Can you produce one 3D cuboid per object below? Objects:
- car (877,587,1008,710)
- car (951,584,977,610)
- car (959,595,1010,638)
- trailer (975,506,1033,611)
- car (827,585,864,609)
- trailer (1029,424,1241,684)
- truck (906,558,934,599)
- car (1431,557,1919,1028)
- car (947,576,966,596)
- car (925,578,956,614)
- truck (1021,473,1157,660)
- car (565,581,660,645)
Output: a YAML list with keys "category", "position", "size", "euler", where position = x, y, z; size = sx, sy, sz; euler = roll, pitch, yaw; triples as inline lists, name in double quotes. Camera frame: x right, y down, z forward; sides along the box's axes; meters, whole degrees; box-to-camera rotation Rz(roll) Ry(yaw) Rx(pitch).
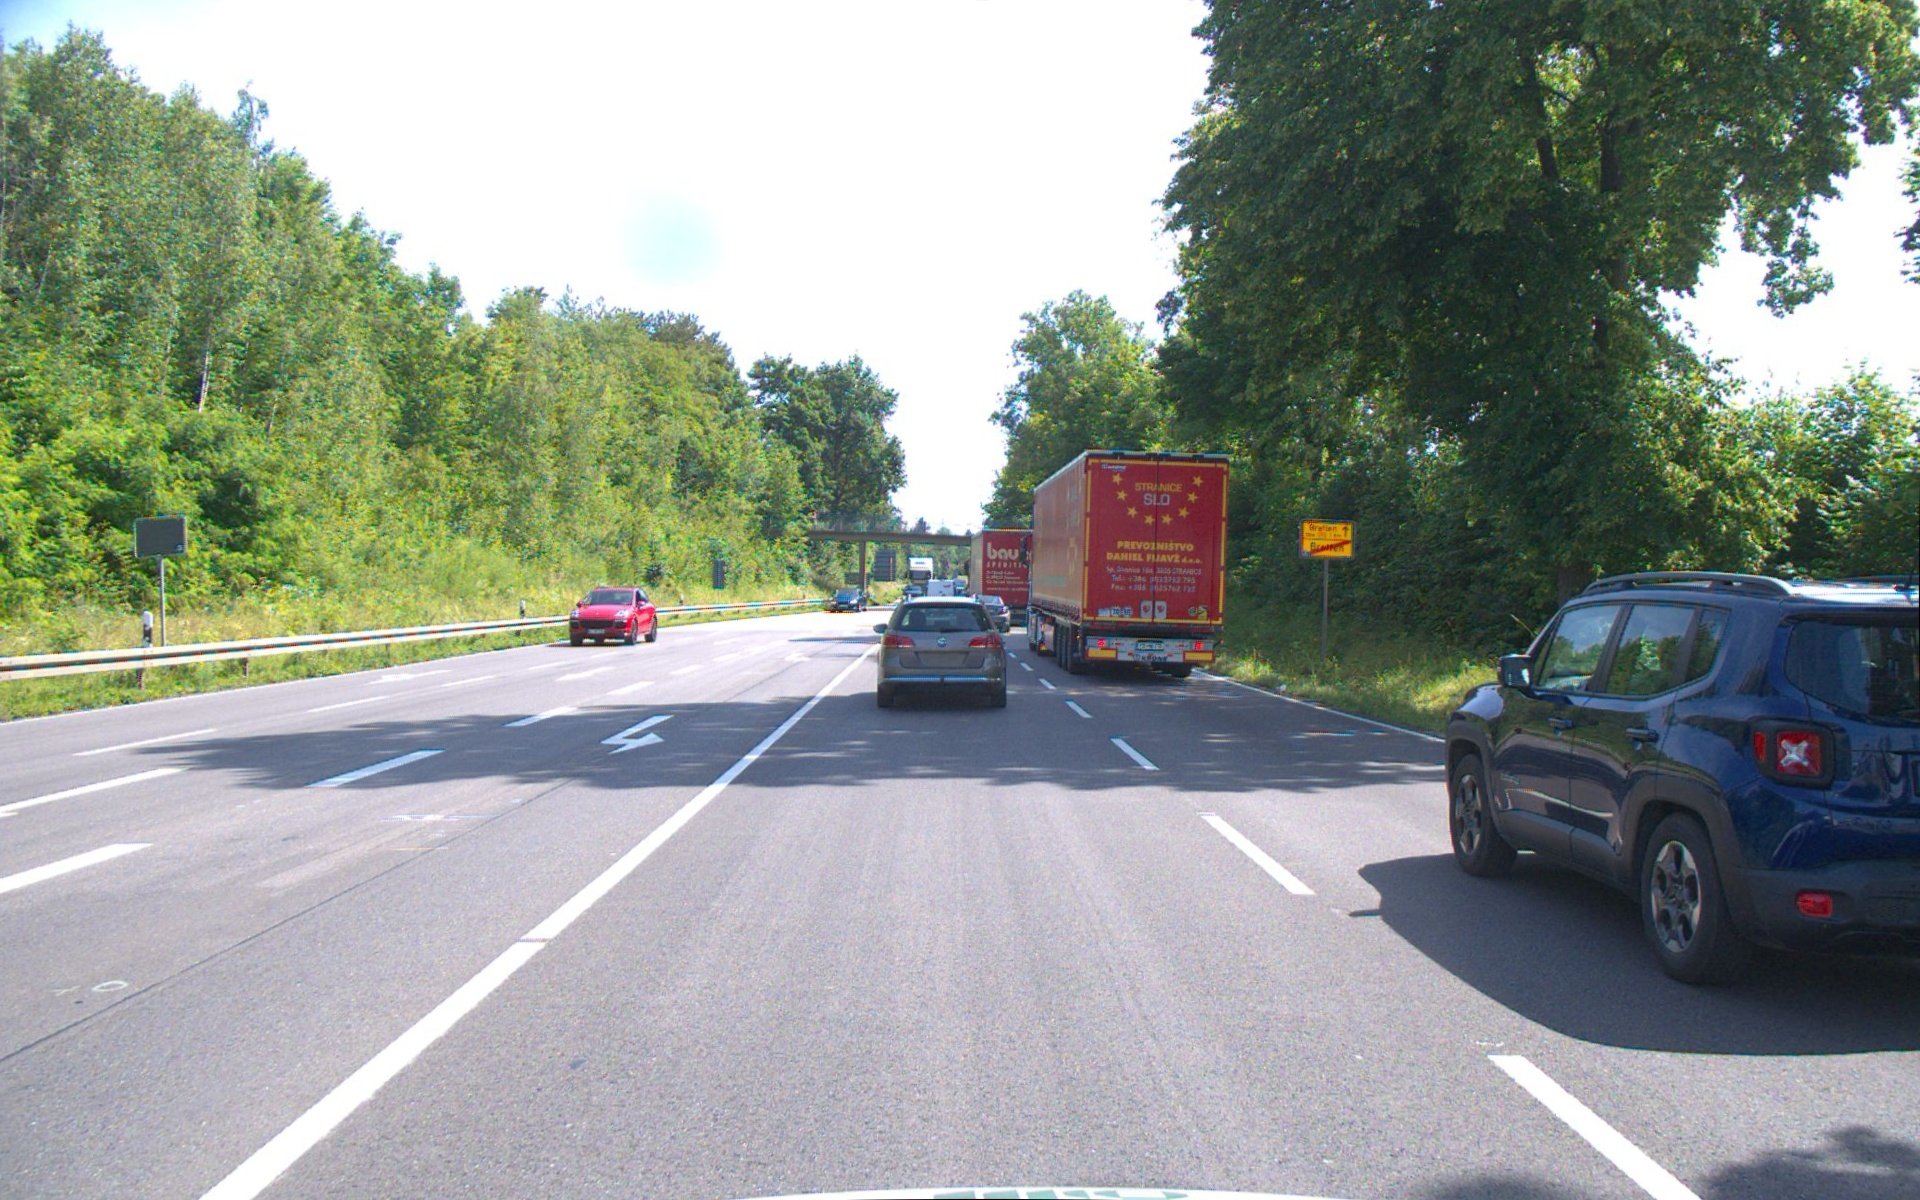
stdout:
- category: "car"
  position: [-0.269, 0.626, 23.101]
  size: [1.657, 1.539, 3.999]
  euler: [-1, 0, -1]
- category: "car"
  position: [0.291, -0.206, 132.553]
  size: [1.953, 2.049, 3.999]
  euler: [-1, 0, -1]
- category: "car"
  position: [0.886, 0.600, 61.253]
  size: [1.734, 1.539, 3.999]
  euler: [-1, 0, -1]
- category: "trailer"
  position: [1.949, -1.702, 75.101]
  size: [2.346, 4.317, 13.079]
  euler: [-1, 0, 1]
- category: "car"
  position: [-6.998, -0.172, 101.585]
  size: [1.923, 1.439, 4.000]
  euler: [0, 0, 1]
- category: "trailer"
  position: [3.312, -0.776, 35.251]
  size: [2.782, 4.442, 13.163]
  euler: [1, 0, -1]
- category: "truck"
  position: [-4.057, -2.095, 166.438]
  size: [2.717, 4.000, 9.463]
  euler: [0, 0, -2]
- category: "car"
  position: [3.780, 0.690, 7.983]
  size: [1.735, 1.683, 3.998]
  euler: [-1, 0, -2]
- category: "car"
  position: [-0.440, -1.454, 177.619]
  size: [1.953, 2.049, 3.999]
  euler: [-1, 0, -1]
- category: "car"
  position: [-1.114, -0.207, 93.219]
  size: [1.734, 1.970, 3.976]
  euler: [-1, 0, -1]
- category: "truck"
  position: [3.175, -0.780, 42.130]
  size: [2.812, 4.356, 5.837]
  euler: [1, 0, -1]
- category: "car"
  position: [-10.558, 0.386, 50.541]
  size: [1.933, 1.828, 4.808]
  euler: [-1, 0, -1]
